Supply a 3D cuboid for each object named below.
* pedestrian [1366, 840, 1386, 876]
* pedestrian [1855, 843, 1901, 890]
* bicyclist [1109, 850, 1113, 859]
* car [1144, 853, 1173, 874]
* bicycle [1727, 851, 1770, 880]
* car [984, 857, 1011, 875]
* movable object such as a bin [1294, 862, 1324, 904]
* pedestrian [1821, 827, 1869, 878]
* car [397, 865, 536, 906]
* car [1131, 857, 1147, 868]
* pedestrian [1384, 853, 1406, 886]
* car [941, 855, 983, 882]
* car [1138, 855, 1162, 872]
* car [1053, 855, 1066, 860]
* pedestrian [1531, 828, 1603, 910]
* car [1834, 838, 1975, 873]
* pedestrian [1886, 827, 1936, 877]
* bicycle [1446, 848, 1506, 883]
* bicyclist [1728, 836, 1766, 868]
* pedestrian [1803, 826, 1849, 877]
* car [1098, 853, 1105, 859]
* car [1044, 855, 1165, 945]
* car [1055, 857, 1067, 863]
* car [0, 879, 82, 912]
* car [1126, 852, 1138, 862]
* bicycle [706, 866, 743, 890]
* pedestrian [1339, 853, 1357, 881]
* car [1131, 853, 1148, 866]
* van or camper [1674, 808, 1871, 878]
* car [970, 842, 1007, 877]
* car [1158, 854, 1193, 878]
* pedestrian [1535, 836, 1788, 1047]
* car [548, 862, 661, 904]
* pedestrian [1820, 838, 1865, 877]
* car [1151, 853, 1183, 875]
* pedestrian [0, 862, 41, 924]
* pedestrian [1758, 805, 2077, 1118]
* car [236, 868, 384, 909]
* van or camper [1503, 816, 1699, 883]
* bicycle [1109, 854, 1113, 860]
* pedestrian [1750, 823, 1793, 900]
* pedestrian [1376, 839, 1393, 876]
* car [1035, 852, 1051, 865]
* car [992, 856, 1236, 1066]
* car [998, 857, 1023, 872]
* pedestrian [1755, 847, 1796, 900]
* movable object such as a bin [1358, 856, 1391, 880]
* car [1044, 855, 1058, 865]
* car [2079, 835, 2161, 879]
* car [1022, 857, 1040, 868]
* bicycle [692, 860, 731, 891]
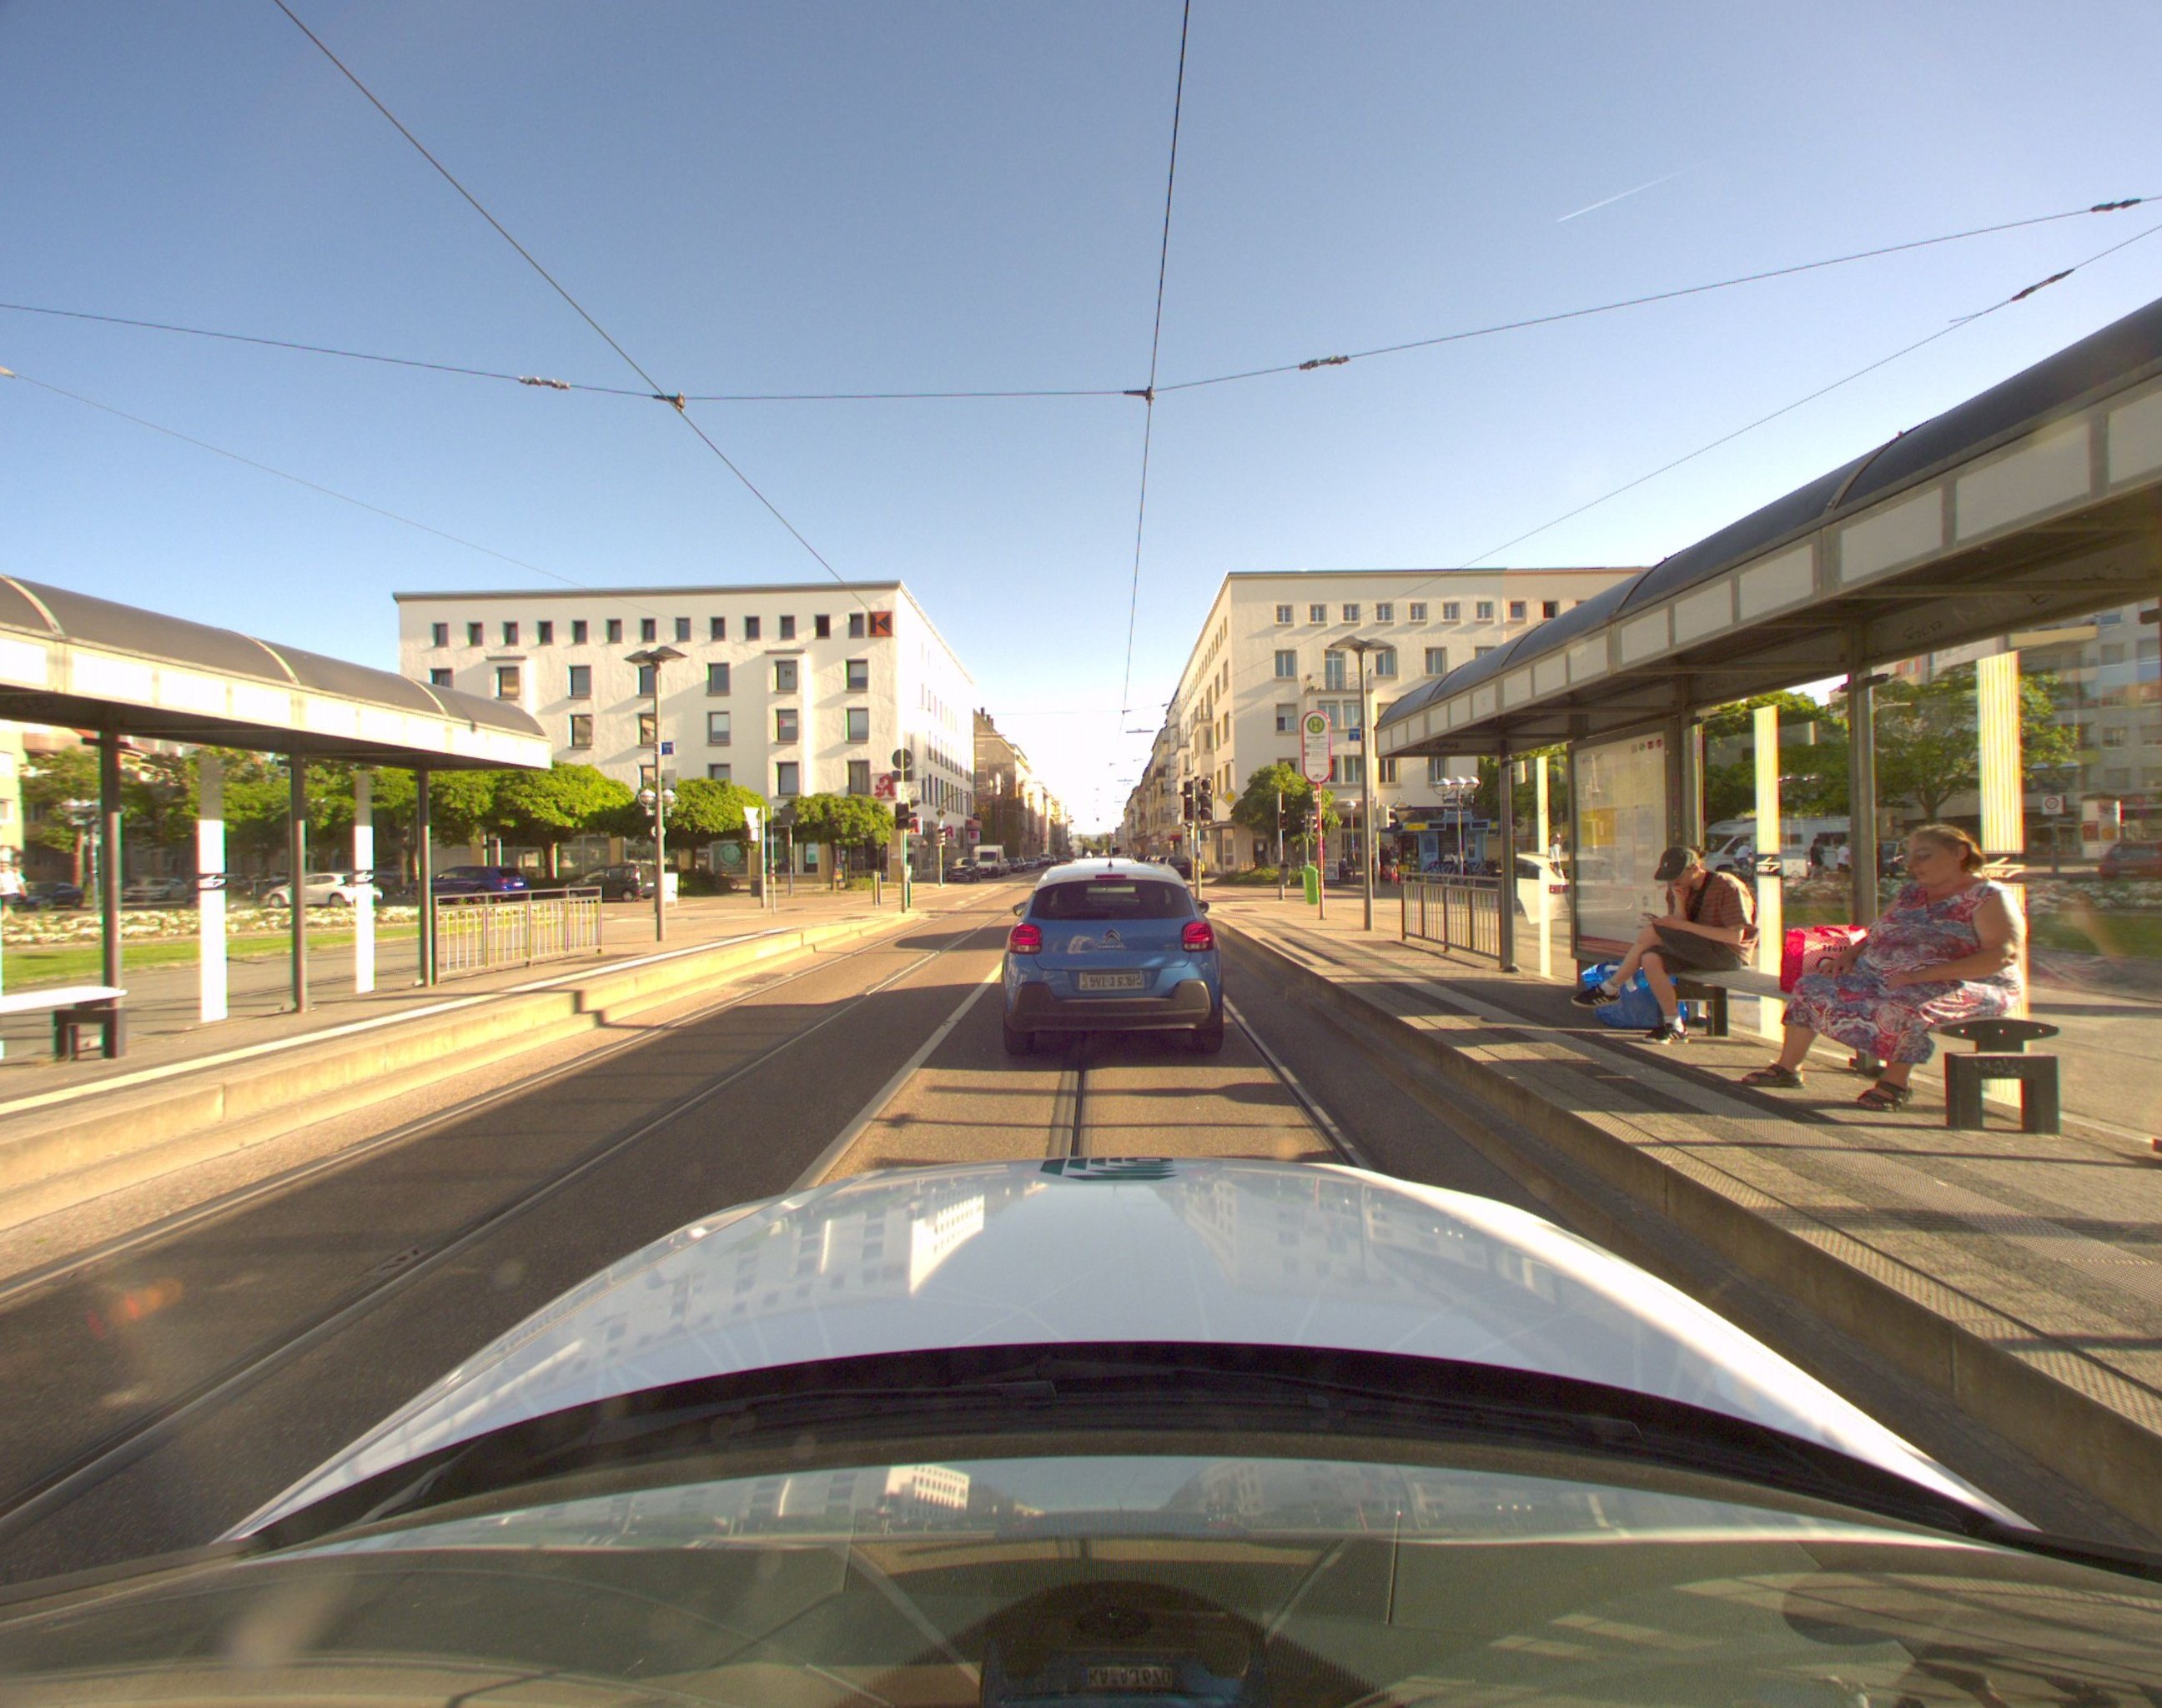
[{"bbox_3d":[15.253,0.190,42.149,0.781,1.839,0.679,-1,0,5],"label":"pedestrian"},{"bbox_3d":[27.635,0.434,28.260,0.897,1.585,0.663,-1,0,5],"label":"pedestrian"},{"bbox_3d":[6.757,0.140,181.292,0.807,2.014,0.922,0,-1,0],"label":"bicyclist"},{"bbox_3d":[5.934,0.721,62.957,1.986,1.501,4.002,-1,0,2],"label":"car"},{"bbox_3d":[25.625,0.441,31.266,2.333,1.061,0.713,0,0,-36],"label":"bicycle"},{"bbox_3d":[-7.106,0.988,69.890,1.881,1.496,3.562,0,-1,1],"label":"car"},{"bbox_3d":[4.356,0.549,15.576,0.447,0.786,0.489,-1,0,4],"label":"movable object such as a bin"},{"bbox_3d":[24.763,-0.047,26.395,0.897,1.585,0.663,-1,0,5],"label":"pedestrian"},{"bbox_3d":[-27.185,1.373,36.158,4.591,1.662,1.999,-1,0,-1],"label":"car"},{"bbox_3d":[7.598,1.093,106.475,1.986,1.464,4.002,-1,0,2],"label":"car"},{"bbox_3d":[14.031,0.683,36.369,0.727,1.409,0.755,-1,3,2],"label":"pedestrian"},{"bbox_3d":[-7.654,0.929,52.743,1.987,1.569,4.403,2,-1,1],"label":"car"},{"bbox_3d":[6.146,0.816,72.983,1.986,1.464,4.002,-1,0,2],"label":"car"},{"bbox_3d":[-4.859,0.819,185.194,1.981,1.156,4.528,-1,0,11],"label":"car"},{"bbox_3d":[11.504,0.348,19.326,0.978,1.878,1.128,-1,-1,-1],"label":"pedestrian"},{"bbox_3d":[36.667,0.074,36.373,3.959,1.511,2.007,0,-1,13],"label":"car"},{"bbox_3d":[26.829,-0.075,26.337,0.897,1.585,0.663,-1,0,5],"label":"pedestrian"},{"bbox_3d":[17.720,0.526,36.563,2.376,1.531,0.726,1,0,0],"label":"bicycle"},{"bbox_3d":[25.430,-0.076,31.102,0.938,1.225,0.943,1,0,-36],"label":"bicyclist"},{"bbox_3d":[25.299,-0.081,27.662,0.897,1.685,0.696,-1,0,5],"label":"pedestrian"},{"bbox_3d":[5.913,0.583,230.767,1.986,1.772,4.002,-1,0,2],"label":"car"},{"bbox_3d":[0.461,0.764,15.788,1.977,1.464,4.817,0,0,2],"label":"car"},{"bbox_3d":[-3.741,1.115,154.414,1.986,1.156,4.002,-1,0,2],"label":"car"},{"bbox_3d":[-52.818,2.043,40.774,1.925,1.494,4.314,0,-1,-27],"label":"car"},{"bbox_3d":[8.327,0.476,133.189,1.986,1.464,4.002,-1,0,2],"label":"car"},{"bbox_3d":[-19.107,1.255,43.692,0.615,1.190,2.624,-1,0,5],"label":"bicycle"},{"bbox_3d":[12.735,0.596,38.849,0.733,1.316,0.631,-1,0,25],"label":"pedestrian"},{"bbox_3d":[7.271,0.671,102.106,1.986,1.464,4.507,-1,0,2],"label":"car"},{"bbox_3d":[30.123,-0.460,35.694,6.375,2.839,2.381,-1,0,5],"label":"van or camper"},{"bbox_3d":[-7.122,0.433,63.102,2.078,2.542,6.206,0,0,1],"label":"car"},{"bbox_3d":[6.054,0.748,52.449,1.902,1.464,4.002,-1,0,2],"label":"car"},{"bbox_3d":[3.721,0.523,5.323,0.995,1.225,0.923,2,-1,1],"label":"pedestrian"},{"bbox_3d":[-21.244,1.279,36.417,3.973,1.706,1.826,-1,0,1],"label":"car"},{"bbox_3d":[25.247,0.115,26.999,0.897,1.279,0.606,-1,0,6],"label":"pedestrian"},{"bbox_3d":[6.051,0.713,57.503,1.986,1.464,4.002,-1,0,2],"label":"car"},{"bbox_3d":[-31.797,1.148,24.133,0.938,1.817,0.872,-1,0,13],"label":"pedestrian"},{"bbox_3d":[3.907,0.470,3.862,0.855,1.334,0.623,2,-1,1],"label":"pedestrian"},{"bbox_3d":[-33.514,1.494,35.472,4.591,1.606,1.855,-1,0,-1],"label":"car"},{"bbox_3d":[22.859,-0.220,36.019,7.093,2.747,2.372,-1,1,2],"label":"van or camper"},{"bbox_3d":[6.750,0.715,181.240,0.916,1.389,3.133,-1,0,2],"label":"bicycle"},{"bbox_3d":[15.941,0.177,18.799,0.554,1.745,0.528,0,-1,12],"label":"pedestrian"},{"bbox_3d":[15.370,0.187,41.244,0.650,1.839,0.660,-1,0,5],"label":"pedestrian"},{"bbox_3d":[-5.873,0.741,127.140,1.997,2.014,4.694,0,-1,4],"label":"car"},{"bbox_3d":[0.290,0.763,7.680,1.721,1.482,3.828,0,0,2],"label":"car"},{"bbox_3d":[-6.754,1.027,78.467,1.987,1.398,4.157,0,-1,1],"label":"car"},{"bbox_3d":[15.591,0.437,18.289,0.466,1.169,0.559,0,-1,10],"label":"pedestrian"},{"bbox_3d":[14.402,0.668,40.037,1.194,1.153,1.218,-1,0,2],"label":"movable object such as a bin"},{"bbox_3d":[-5.057,1.041,137.641,1.946,1.552,3.942,0,-1,4],"label":"car"},{"bbox_3d":[38.585,0.069,29.035,3.983,1.486,1.995,-1,0,-7],"label":"car"},{"bbox_3d":[-6.360,1.045,103.634,1.987,1.325,3.923,0,-1,1],"label":"car"},{"bbox_3d":[-19.830,1.116,43.734,0.614,1.607,2.625,-1,0,6],"label":"bicycle"}]
